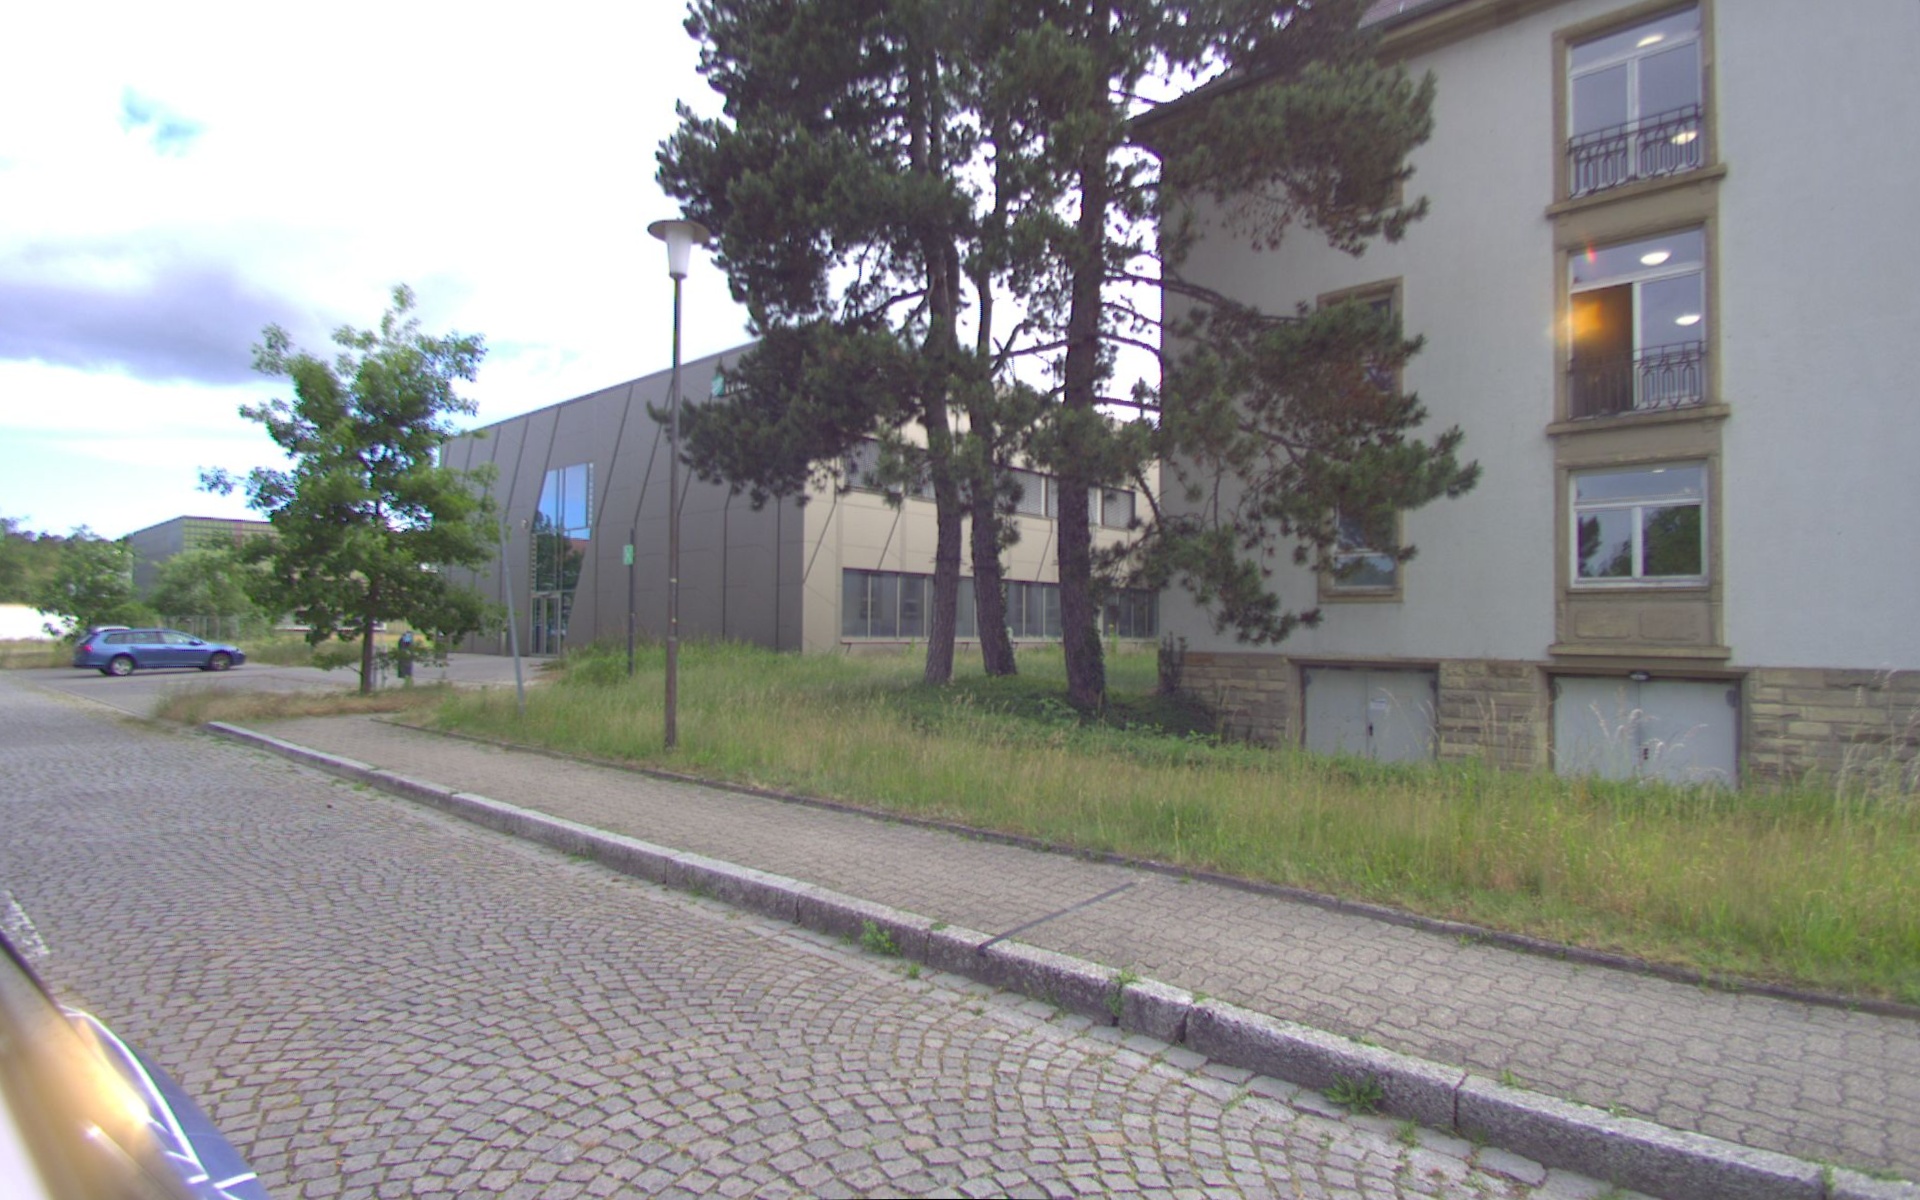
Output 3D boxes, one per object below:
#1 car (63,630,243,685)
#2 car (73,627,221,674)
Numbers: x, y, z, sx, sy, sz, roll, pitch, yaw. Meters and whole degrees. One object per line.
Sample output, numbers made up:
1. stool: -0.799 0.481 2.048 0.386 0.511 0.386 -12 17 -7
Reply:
1. car: -26.309 1.813 33.128 1.715 1.522 4.349 -1 0 39
2. car: -31.201 1.901 38.906 4.338 1.557 1.843 -1 -1 -42
